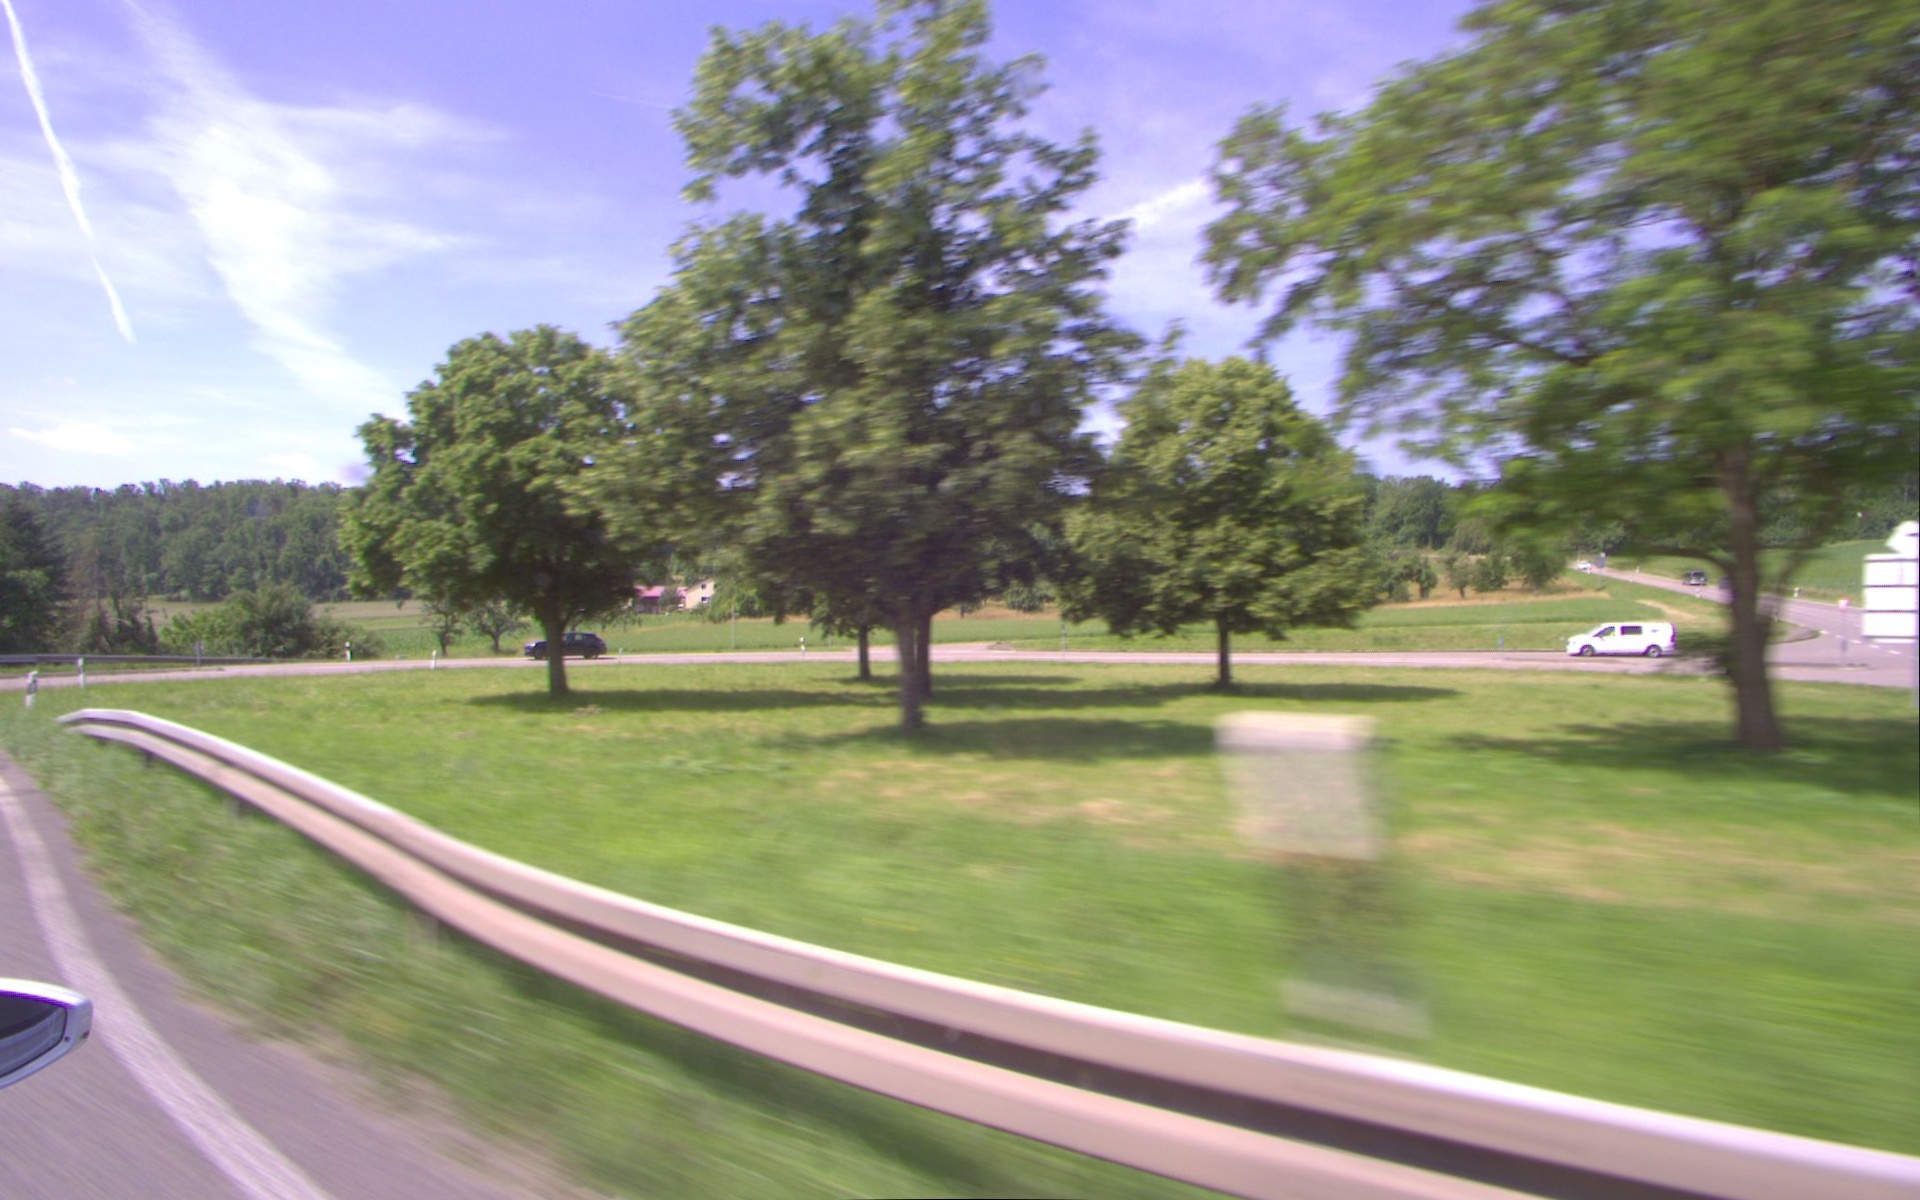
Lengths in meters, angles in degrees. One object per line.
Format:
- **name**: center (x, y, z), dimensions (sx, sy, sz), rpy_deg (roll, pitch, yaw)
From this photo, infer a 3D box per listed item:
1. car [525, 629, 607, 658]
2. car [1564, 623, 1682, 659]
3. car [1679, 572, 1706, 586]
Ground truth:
- **car**: center (-23.460, 2.558, 59.601), dimensions (4.364, 1.611, 2.054), rpy_deg (1, 0, -29)
- **car**: center (37.406, 2.272, 56.676), dimensions (5.331, 1.872, 1.993), rpy_deg (-1, 1, 24)
- **car**: center (90.059, -2.562, 123.142), dimensions (1.781, 1.572, 3.985), rpy_deg (0, 4, 24)
